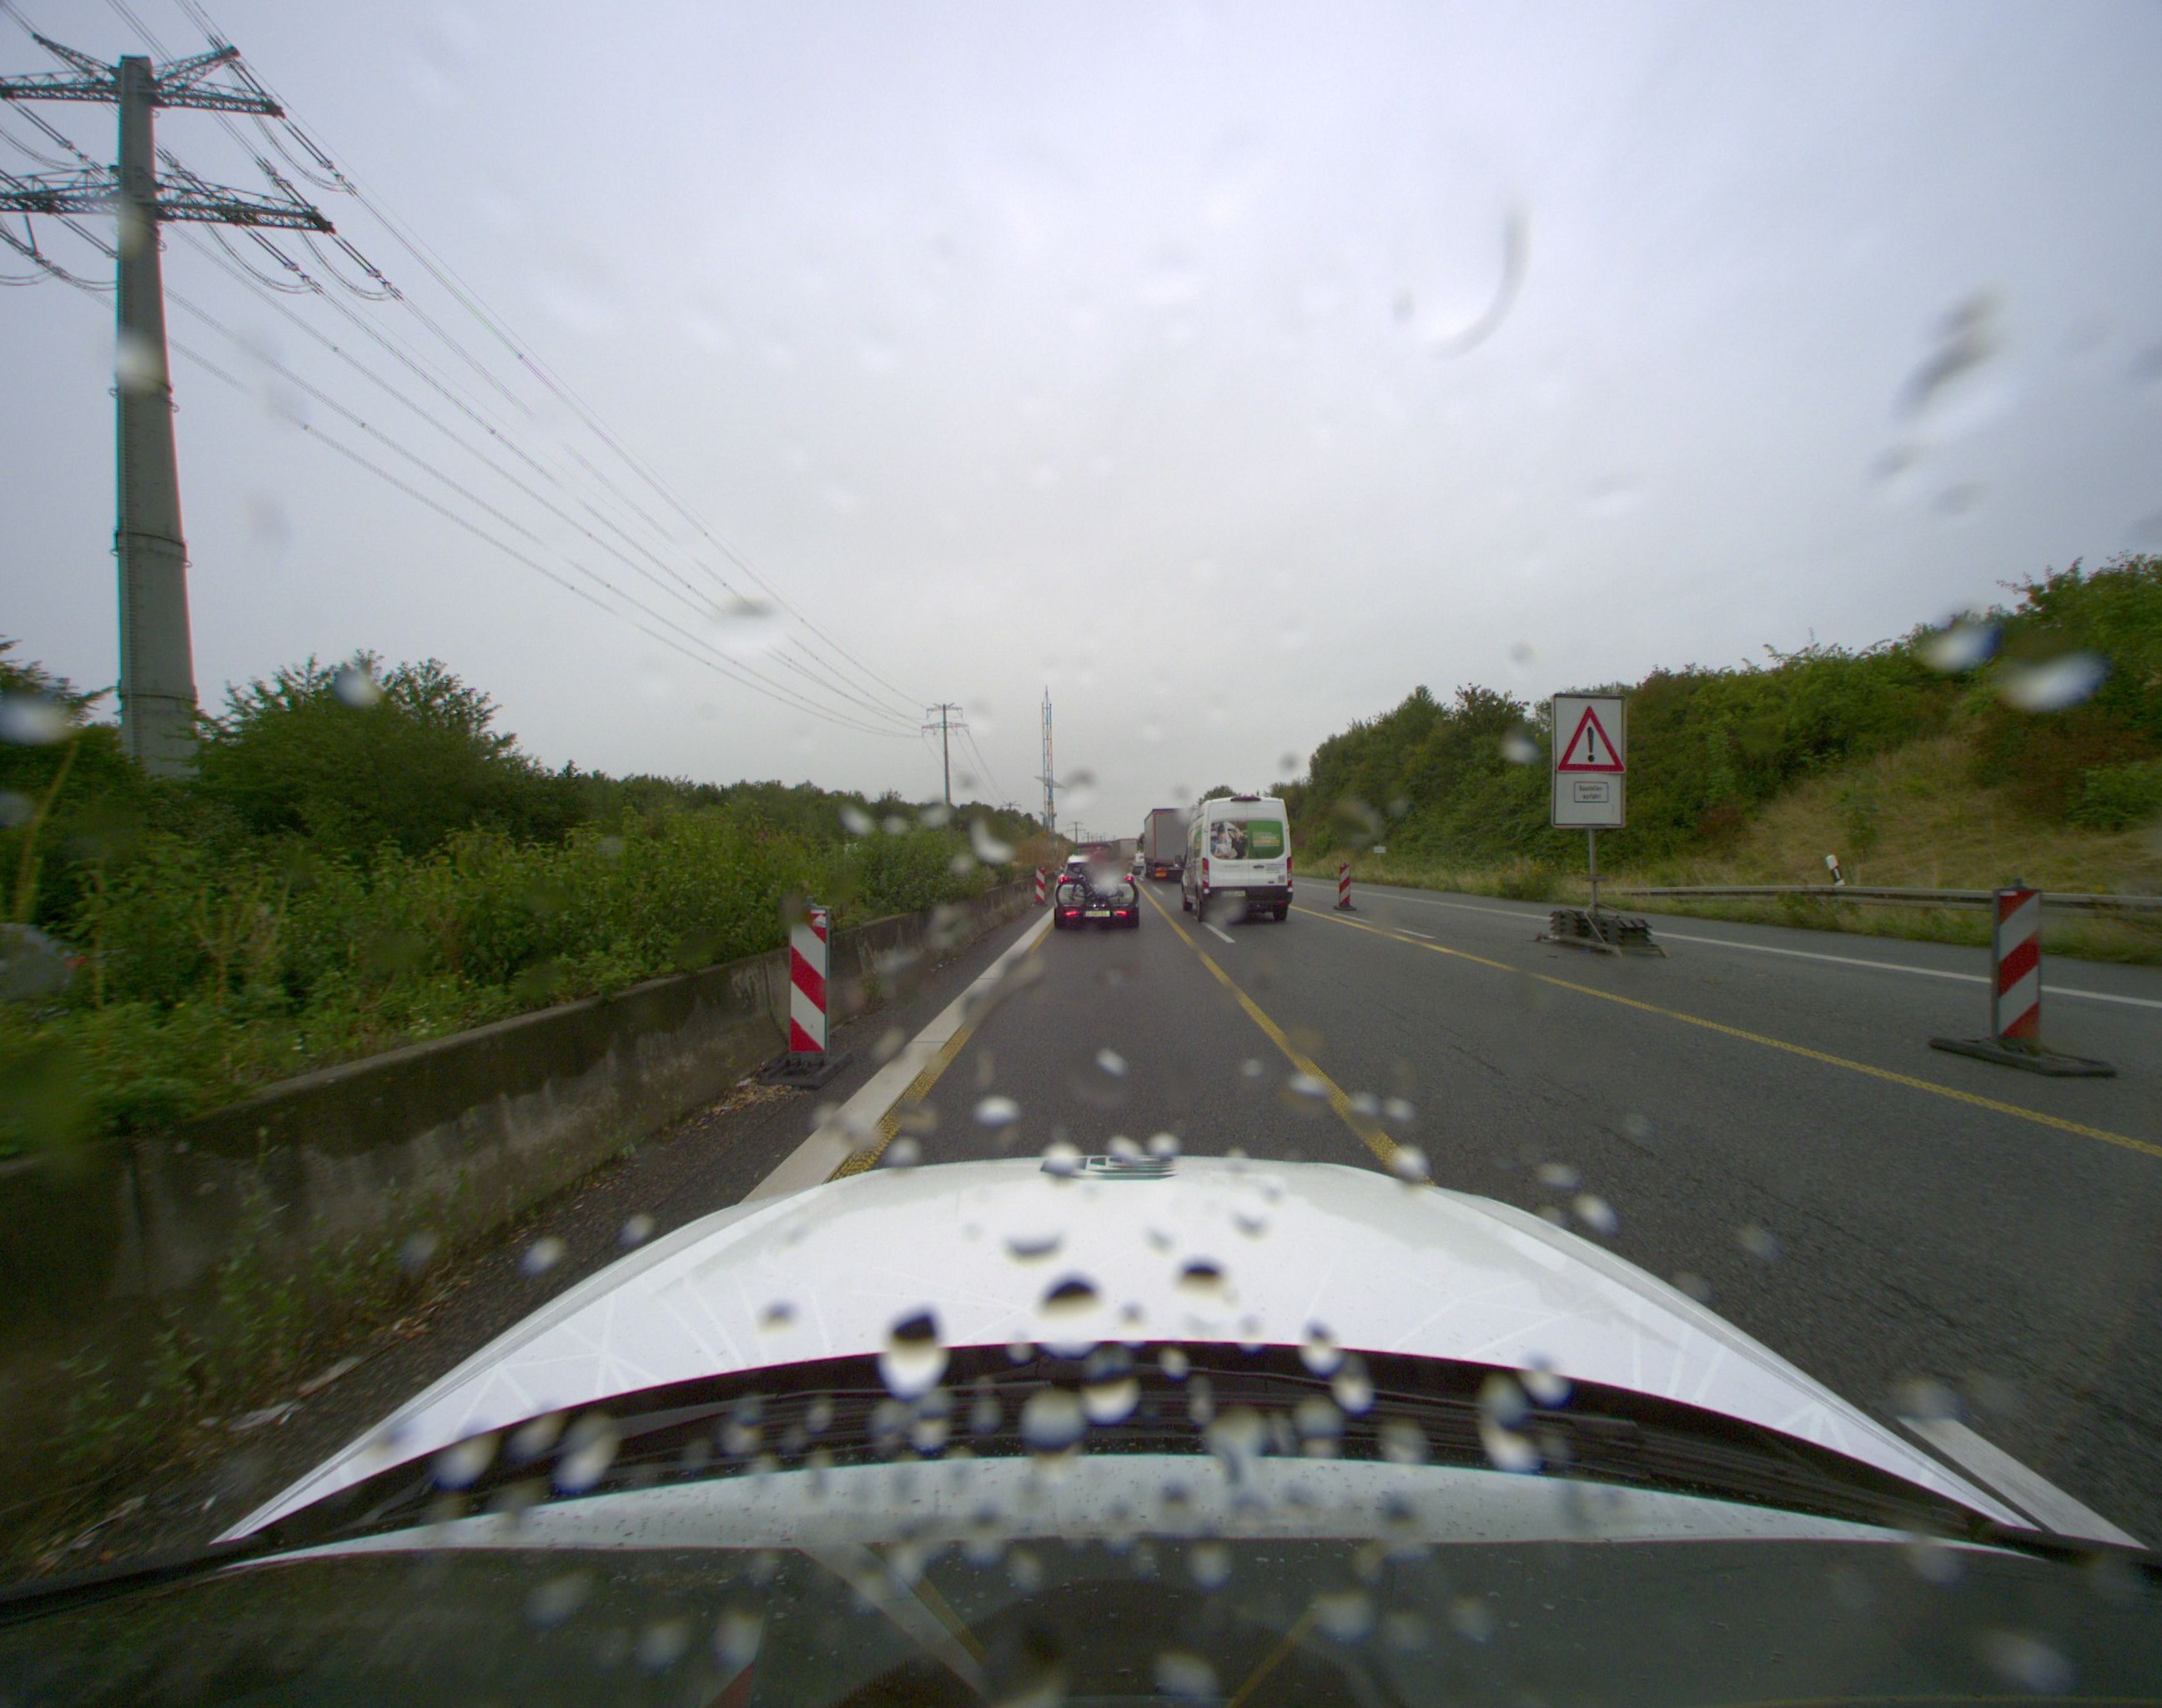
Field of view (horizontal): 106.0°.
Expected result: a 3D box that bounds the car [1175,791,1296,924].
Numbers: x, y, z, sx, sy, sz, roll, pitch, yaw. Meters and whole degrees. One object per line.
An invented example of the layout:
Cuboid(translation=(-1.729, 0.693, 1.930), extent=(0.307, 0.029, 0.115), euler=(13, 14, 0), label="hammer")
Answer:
Cuboid(translation=(3.625, 0.086, 20.229), extent=(1.986, 2.783, 5.758), euler=(-2, 0, 2), label="car")

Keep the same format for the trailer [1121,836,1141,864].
Cuboid(translation=(7.696, -0.597, 126.667), extent=(2.682, 4.076, 13.638), euler=(-1, 0, 2), label="trailer")

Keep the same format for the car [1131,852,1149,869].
Cuboid(translation=(6.495, 0.723, 90.335), extent=(1.822, 1.839, 4.657), euler=(-1, 0, 2), label="car")

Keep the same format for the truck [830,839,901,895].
Cuboid(translation=(-13.821, 0.783, 52.800), extent=(2.252, 3.227, 7.055), euler=(-5, -1, 2), label="truck")

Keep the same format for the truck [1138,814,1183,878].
Cuboid(translation=(5.427, -0.526, 56.364), extent=(2.696, 4.138, 5.692), euler=(-1, 0, 2), label="truck")

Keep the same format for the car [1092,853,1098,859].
Cuboid(translation=(4.260, 0.636, 251.438), extent=(1.924, 1.973, 4.002), euler=(-1, 1, 2), label="car")

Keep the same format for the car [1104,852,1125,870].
Cuboid(translation=(3.063, 0.611, 74.837), extent=(1.843, 1.531, 4.001), euler=(-1, 0, 2), label="car")

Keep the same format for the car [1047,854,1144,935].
Cuboid(translation=(0.353, 0.785, 18.179), extent=(1.843, 1.531, 4.770), euler=(-1, 0, 2), label="car")

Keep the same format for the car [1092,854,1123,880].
Cuboid(translation=(1.657, 0.796, 51.578), extent=(1.843, 1.531, 4.001), euler=(-1, 0, 2), label="car")

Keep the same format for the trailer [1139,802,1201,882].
Cuboid(translation=(5.184, -0.614, 49.726), extent=(2.696, 4.146, 13.738), euler=(-1, 0, 2), label="trailer")

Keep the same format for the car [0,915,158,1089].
Cuboid(translation=(-11.094, 1.438, 6.988), extent=(1.682, 1.564, 4.001), euler=(0, -1, 2), label="car")
